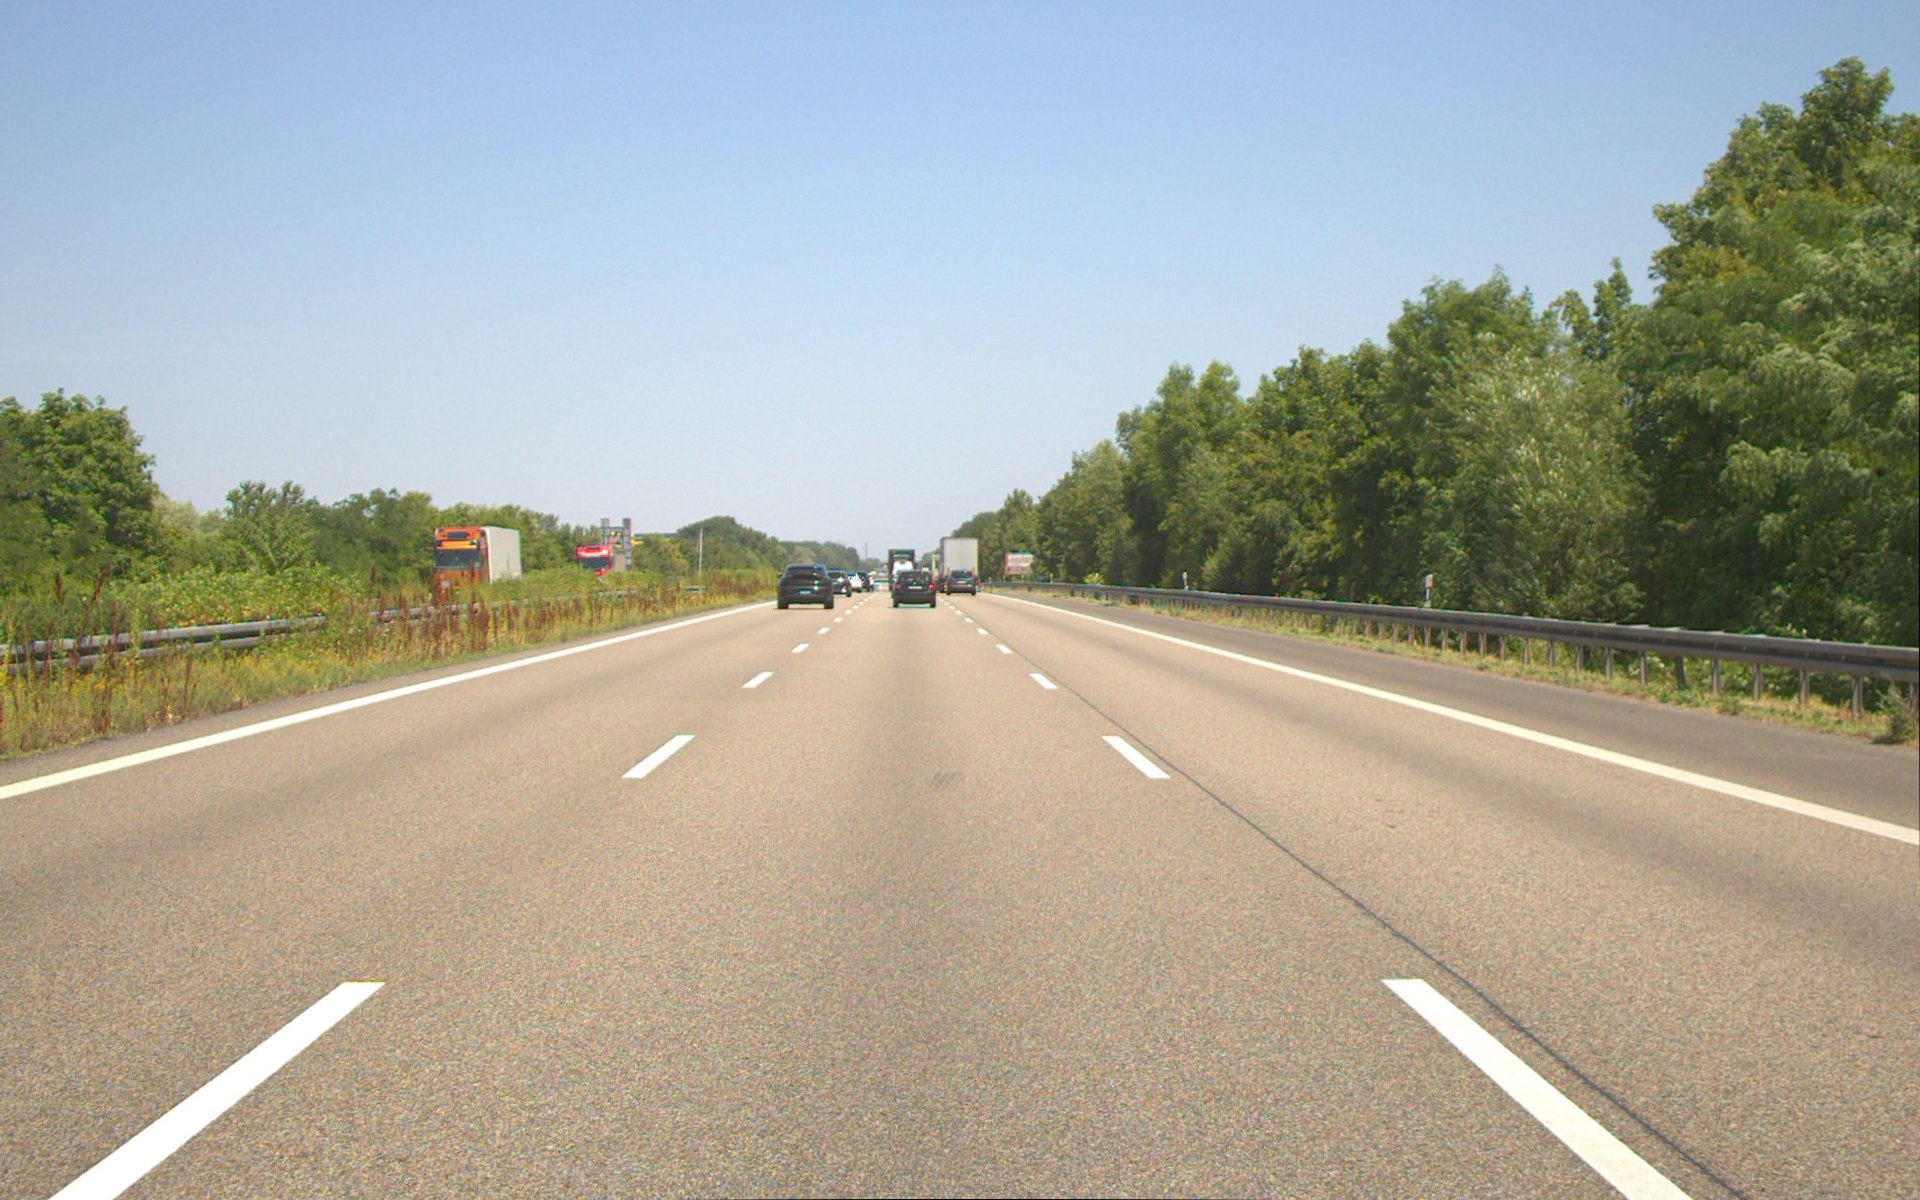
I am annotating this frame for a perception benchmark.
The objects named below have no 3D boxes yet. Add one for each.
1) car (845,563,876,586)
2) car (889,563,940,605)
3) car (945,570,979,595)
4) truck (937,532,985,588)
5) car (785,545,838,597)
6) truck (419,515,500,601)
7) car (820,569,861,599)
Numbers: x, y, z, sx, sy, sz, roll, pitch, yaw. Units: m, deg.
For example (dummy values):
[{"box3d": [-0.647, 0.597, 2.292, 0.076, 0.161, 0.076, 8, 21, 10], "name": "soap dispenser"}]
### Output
[{"box3d": [-7.222, -1.843, 249.258, 2.128, 1.640, 4.304, -1, 0, 0], "name": "car"}, {"box3d": [-1.752, -0.635, 133.933, 1.903, 1.578, 4.304, -1, 0, 0], "name": "car"}, {"box3d": [0.130, -1.114, 217.790, 2.128, 1.578, 4.304, -1, 0, 0], "name": "car"}, {"box3d": [0.061, -2.899, 249.671, 3.385, 3.957, 9.537, -1, 0, 0], "name": "truck"}, {"box3d": [-5.410, -1.073, 125.737, 1.880, 1.786, 4.001, 0, 2, -2], "name": "car"}, {"box3d": [-24.118, -2.028, 166.047, 2.732, 3.922, 7.416, -3, 0, 0], "name": "truck"}, {"box3d": [-6.678, -0.901, 192.322, 2.128, 1.640, 4.304, -1, 0, 0], "name": "car"}]
